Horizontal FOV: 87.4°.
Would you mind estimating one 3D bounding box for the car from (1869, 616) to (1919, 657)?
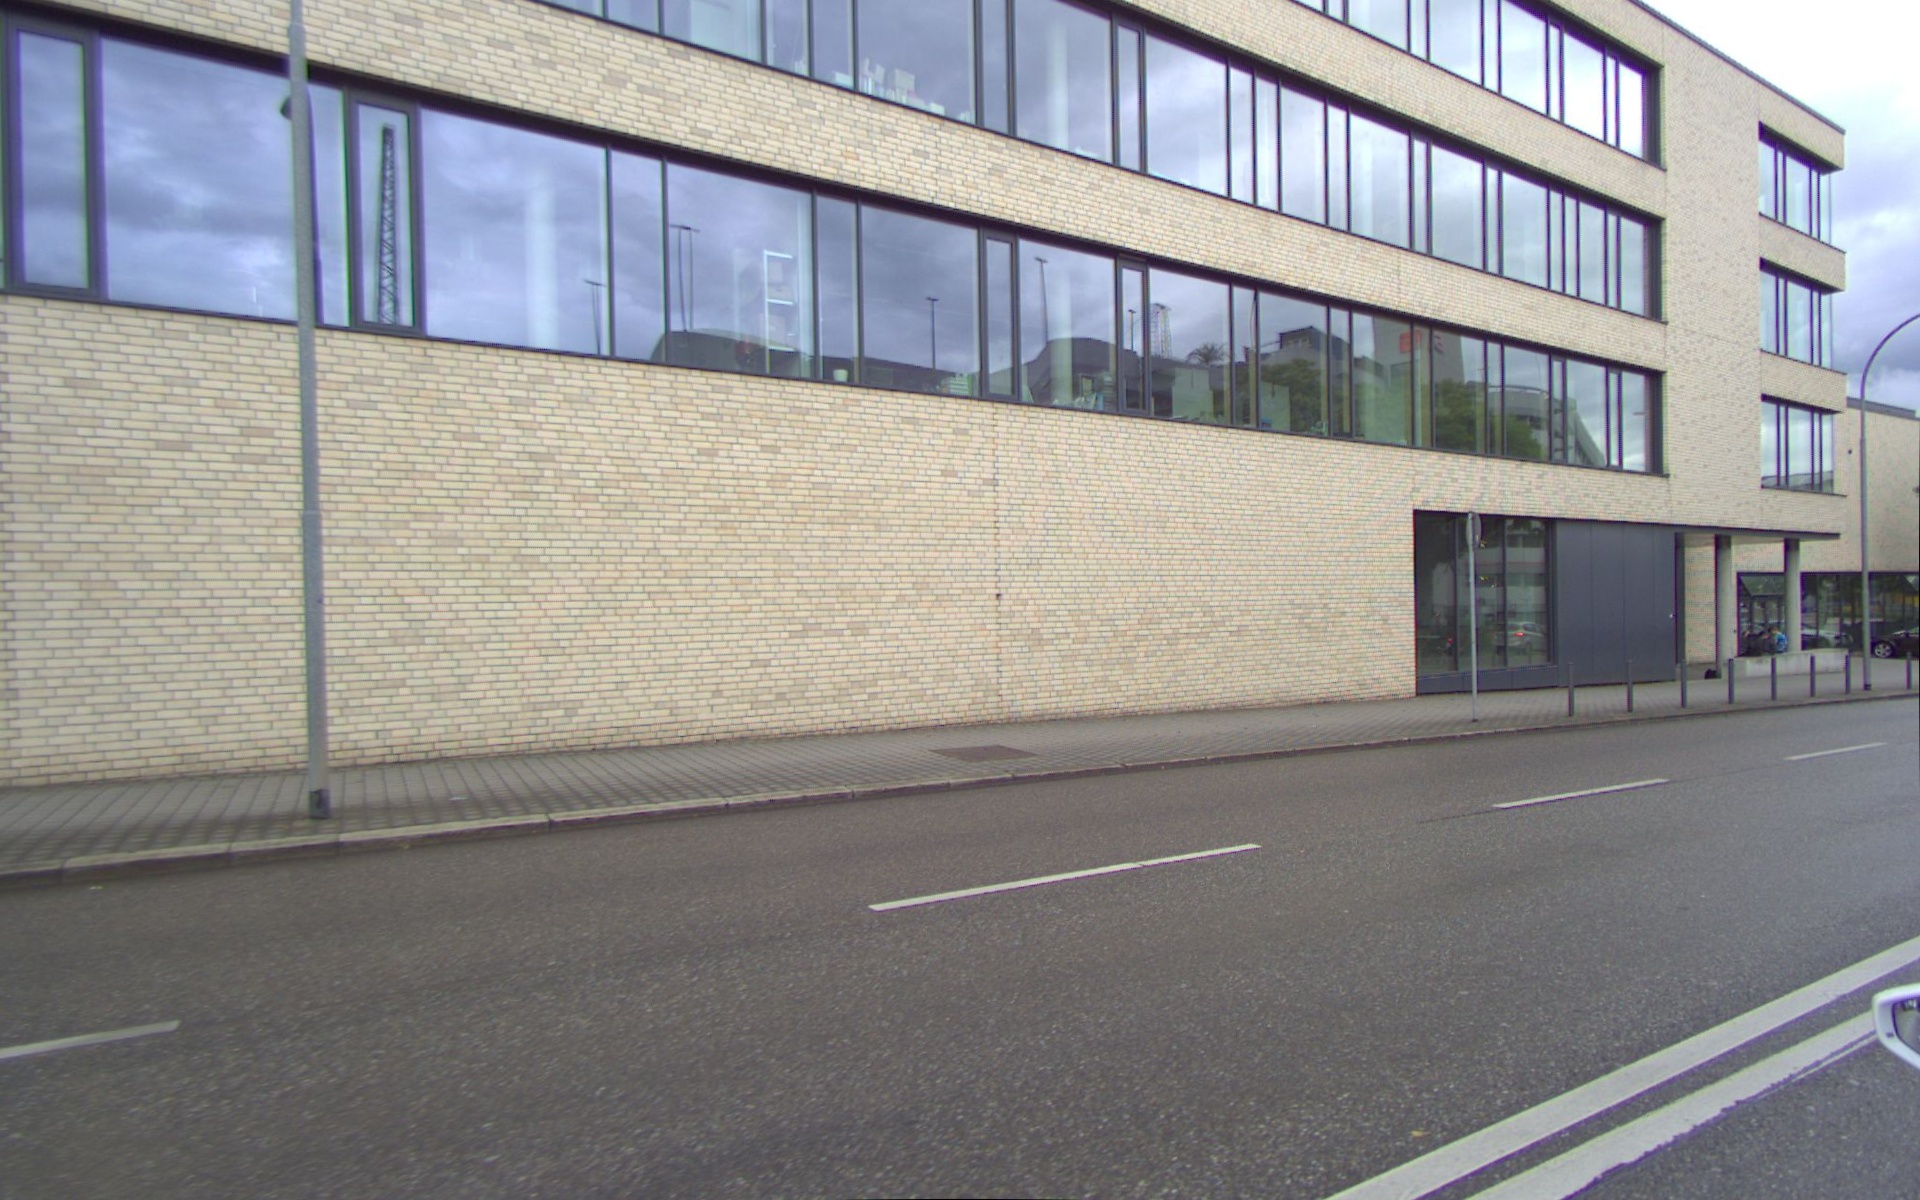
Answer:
[{"bbox_3d":[40.279,1.543,40.992,1.979,1.595,4.388,-1,2,-34],"label":"car"}]

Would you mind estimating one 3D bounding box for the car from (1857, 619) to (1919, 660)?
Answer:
[{"bbox_3d":[38.596,1.575,39.660,1.980,1.608,4.438,1,0,-35],"label":"car"}]

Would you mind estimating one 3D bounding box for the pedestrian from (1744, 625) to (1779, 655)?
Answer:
[{"bbox_3d":[23.596,1.168,29.571,0.719,0.856,0.584,2,0,-30],"label":"pedestrian"}]

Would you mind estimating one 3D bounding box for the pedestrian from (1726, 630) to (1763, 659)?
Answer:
[{"bbox_3d":[22.810,1.303,29.201,0.751,0.796,0.595,2,1,-30],"label":"pedestrian"}]

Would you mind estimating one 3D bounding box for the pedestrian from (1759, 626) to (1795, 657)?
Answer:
[{"bbox_3d":[24.572,1.236,30.228,0.518,0.897,0.678,2,1,-29],"label":"pedestrian"}]
